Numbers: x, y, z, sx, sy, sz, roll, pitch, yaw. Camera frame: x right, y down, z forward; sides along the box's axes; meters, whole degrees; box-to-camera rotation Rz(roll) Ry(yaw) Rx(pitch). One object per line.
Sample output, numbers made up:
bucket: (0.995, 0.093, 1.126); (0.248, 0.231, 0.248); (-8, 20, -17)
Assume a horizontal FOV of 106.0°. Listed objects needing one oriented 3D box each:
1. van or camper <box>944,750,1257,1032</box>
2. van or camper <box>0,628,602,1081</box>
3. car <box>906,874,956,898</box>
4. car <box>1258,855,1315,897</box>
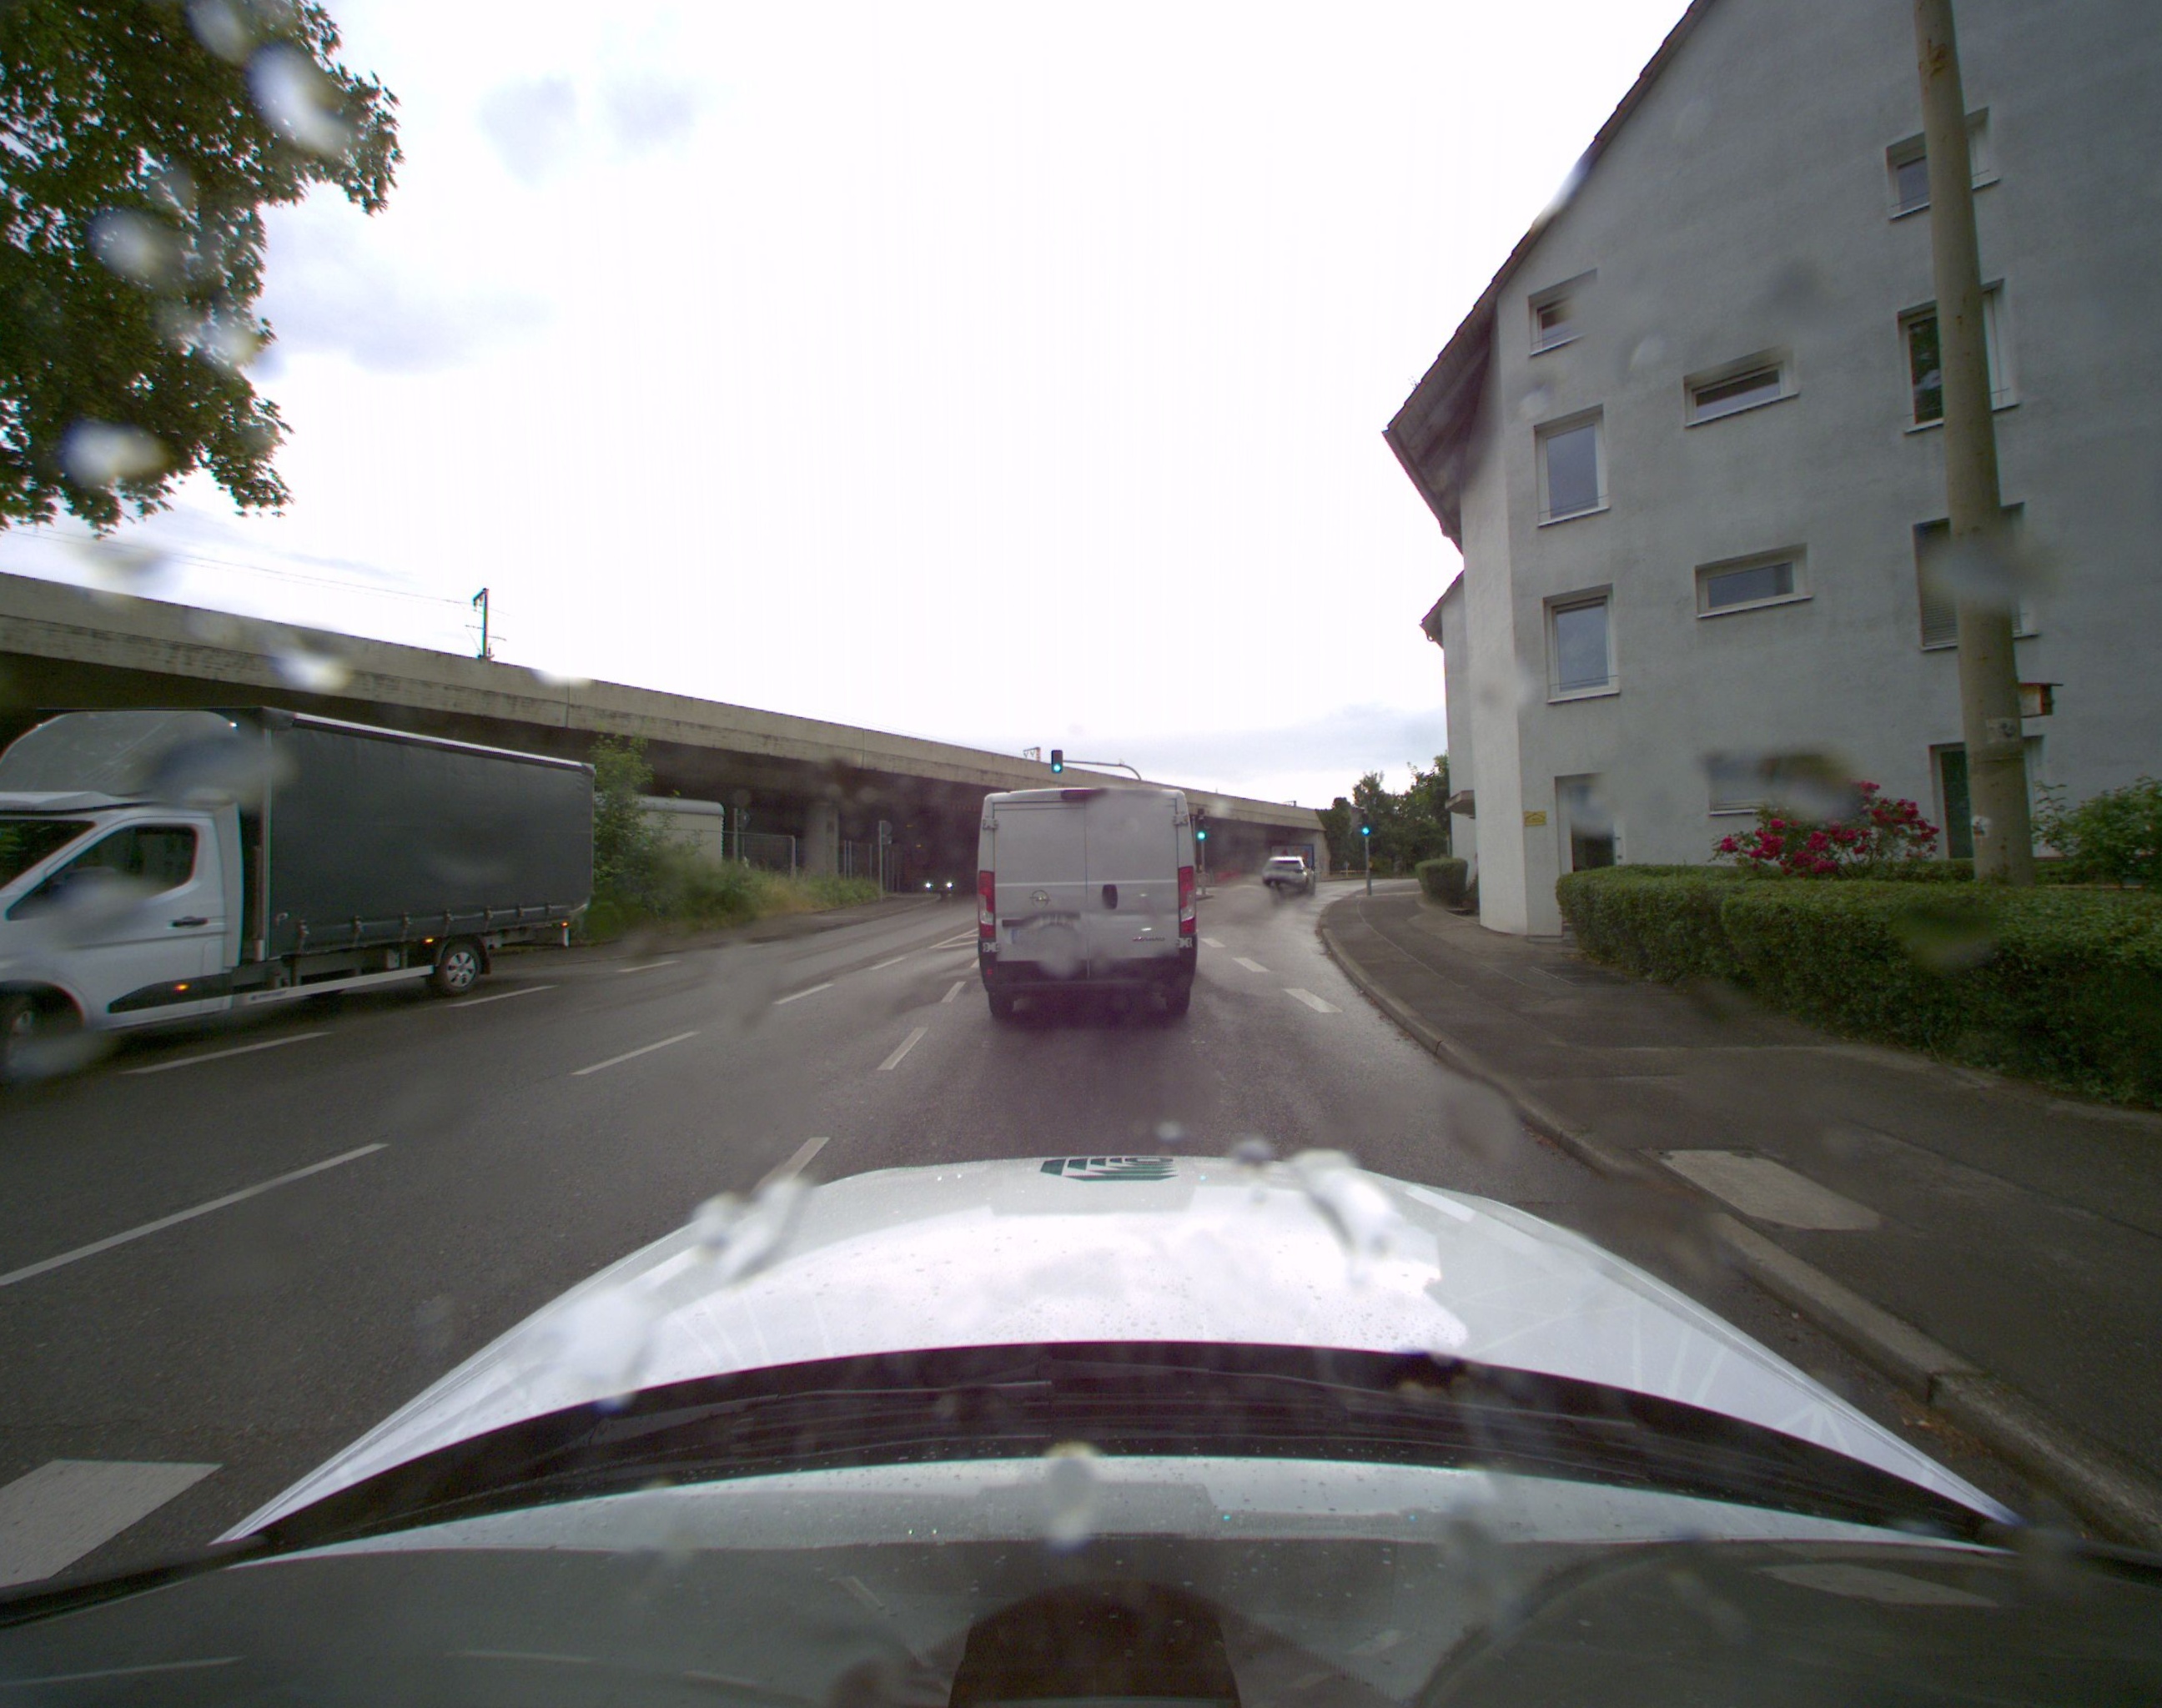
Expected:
van or camper: (0.169, 0.342, 9.550); (2.690, 2.417, 4.902); (-1, -1, 0)
van or camper: (-9.183, 0.059, 9.207); (2.688, 3.335, 7.765); (-1, -1, 2)
car: (-10.467, 2.177, 56.459); (2.006, 1.530, 4.456); (0, -1, -30)
car: (8.014, 0.814, 31.538); (1.860, 1.530, 4.018); (-1, -1, 17)
